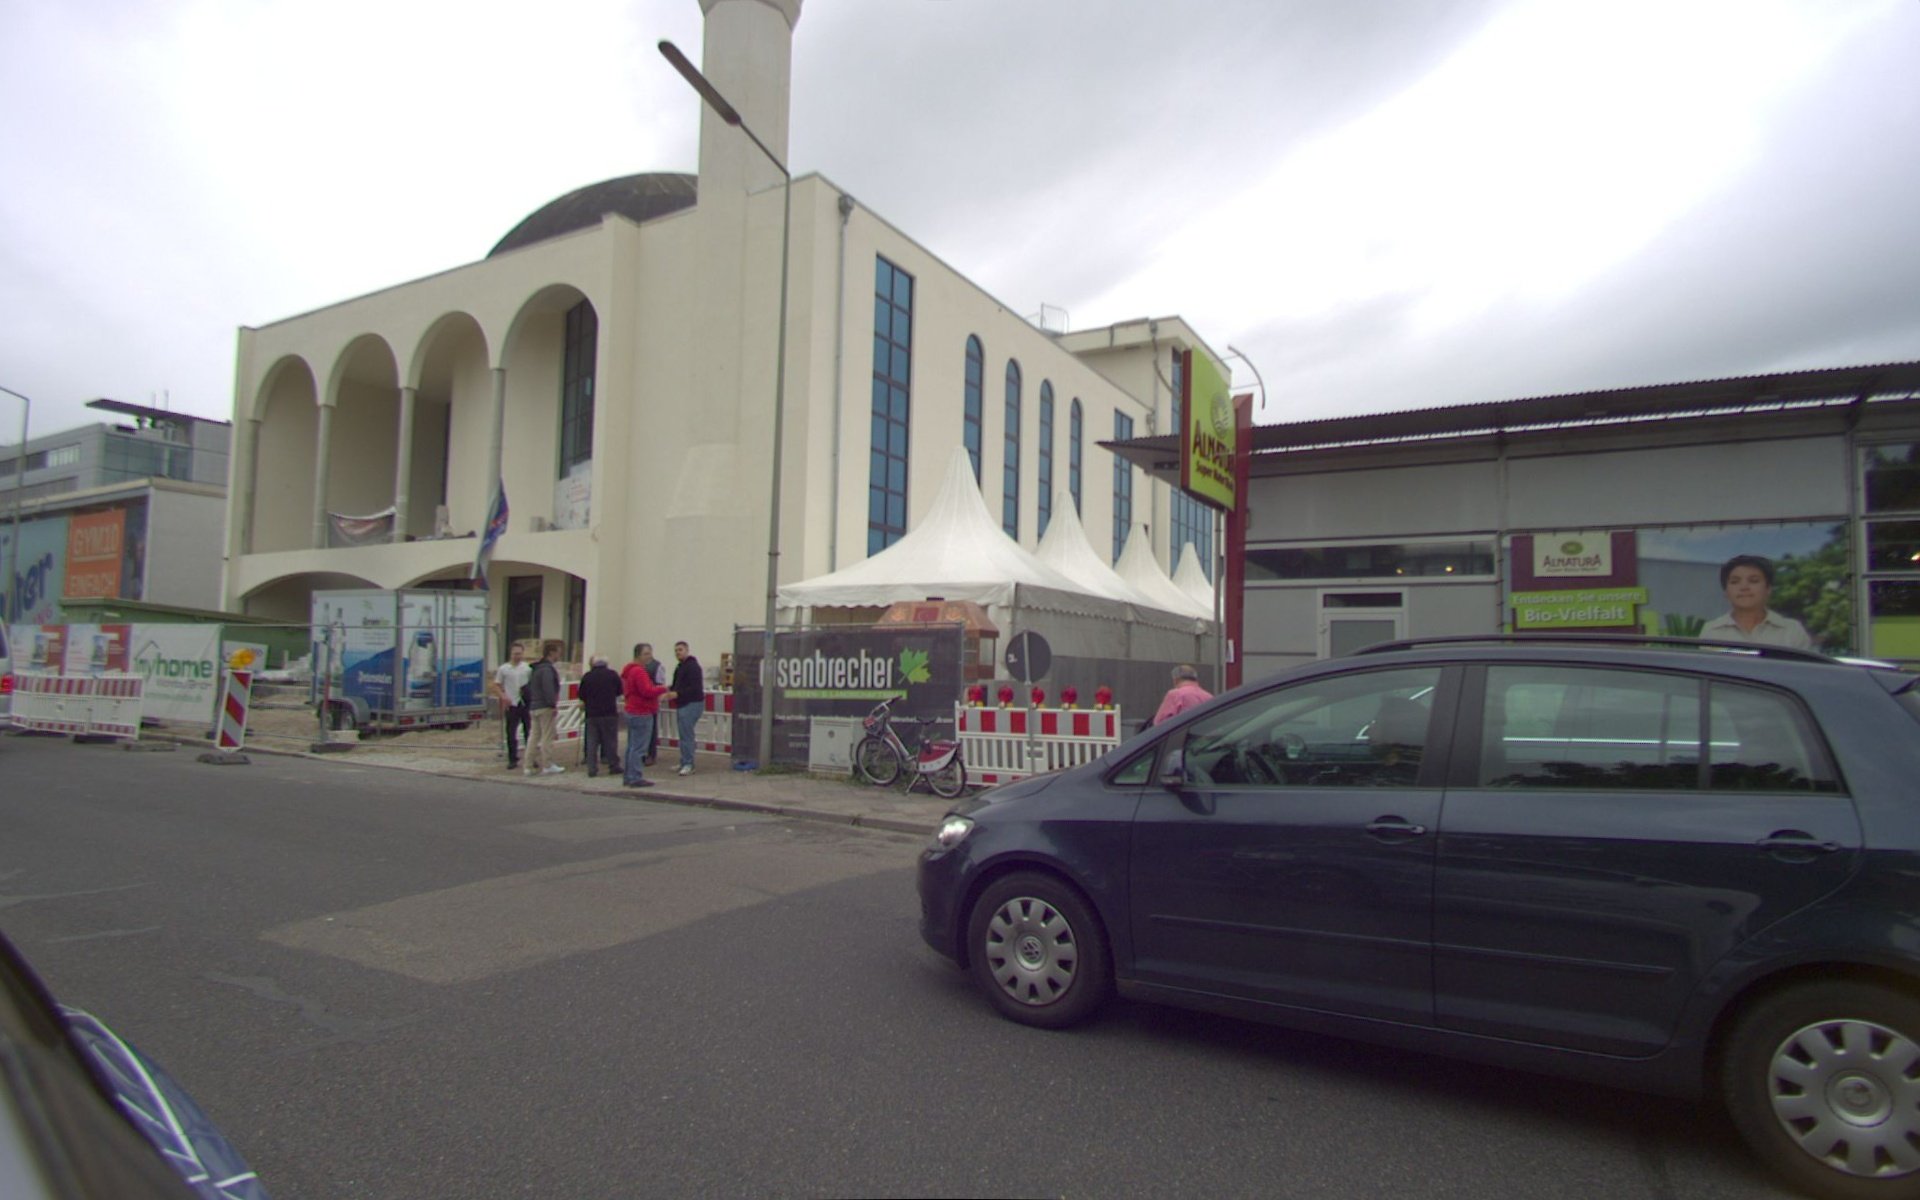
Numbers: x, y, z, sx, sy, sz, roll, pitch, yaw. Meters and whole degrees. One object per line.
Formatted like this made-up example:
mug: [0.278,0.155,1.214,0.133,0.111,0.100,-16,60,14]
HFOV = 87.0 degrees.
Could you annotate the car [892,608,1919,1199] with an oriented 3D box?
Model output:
car: [1.852,0.908,4.019,3.931,1.584,1.716,-1,-6,31]

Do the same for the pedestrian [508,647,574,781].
pedestrian: [-5.656,1.531,13.680,0.680,1.763,0.492,2,-4,-14]

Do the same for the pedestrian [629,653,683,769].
pedestrian: [-4.395,1.585,14.653,0.488,1.624,0.536,0,-3,27]

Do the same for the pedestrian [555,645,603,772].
pedestrian: [-5.432,1.540,14.450,0.519,1.763,0.492,2,-4,-14]

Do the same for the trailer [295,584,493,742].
trailer: [-10.342,1.134,18.484,3.182,2.627,1.783,-1,-5,33]

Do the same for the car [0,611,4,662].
car: [-8.687,0.859,7.095,3.740,1.644,1.671,-1,-4,27]

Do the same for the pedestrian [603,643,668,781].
pedestrian: [-3.957,1.360,12.362,0.533,1.624,0.490,2,-5,2]

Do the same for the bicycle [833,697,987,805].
bicycle: [-0.620,1.747,11.992,1.898,1.086,0.539,-1,-4,37]

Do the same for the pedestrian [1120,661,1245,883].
pedestrian: [1.758,1.330,7.989,0.664,1.634,0.655,8,-9,-34]

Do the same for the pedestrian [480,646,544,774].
pedestrian: [-6.326,1.545,14.322,0.680,1.763,0.492,2,-4,-14]

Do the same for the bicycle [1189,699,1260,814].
bicycle: [3.026,1.731,11.491,0.390,1.054,1.649,-1,0,28]

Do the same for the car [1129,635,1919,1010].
car: [3.613,1.157,6.232,4.712,1.704,1.851,-1,-8,32]

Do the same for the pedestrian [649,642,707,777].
pedestrian: [-3.800,1.453,13.643,0.684,1.731,0.689,-1,-2,-16]

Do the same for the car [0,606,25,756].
car: [-15.495,1.059,14.343,4.937,2.029,1.912,0,-4,31]

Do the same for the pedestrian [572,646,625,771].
pedestrian: [-4.843,1.448,13.576,0.562,1.624,0.492,2,-4,-14]
